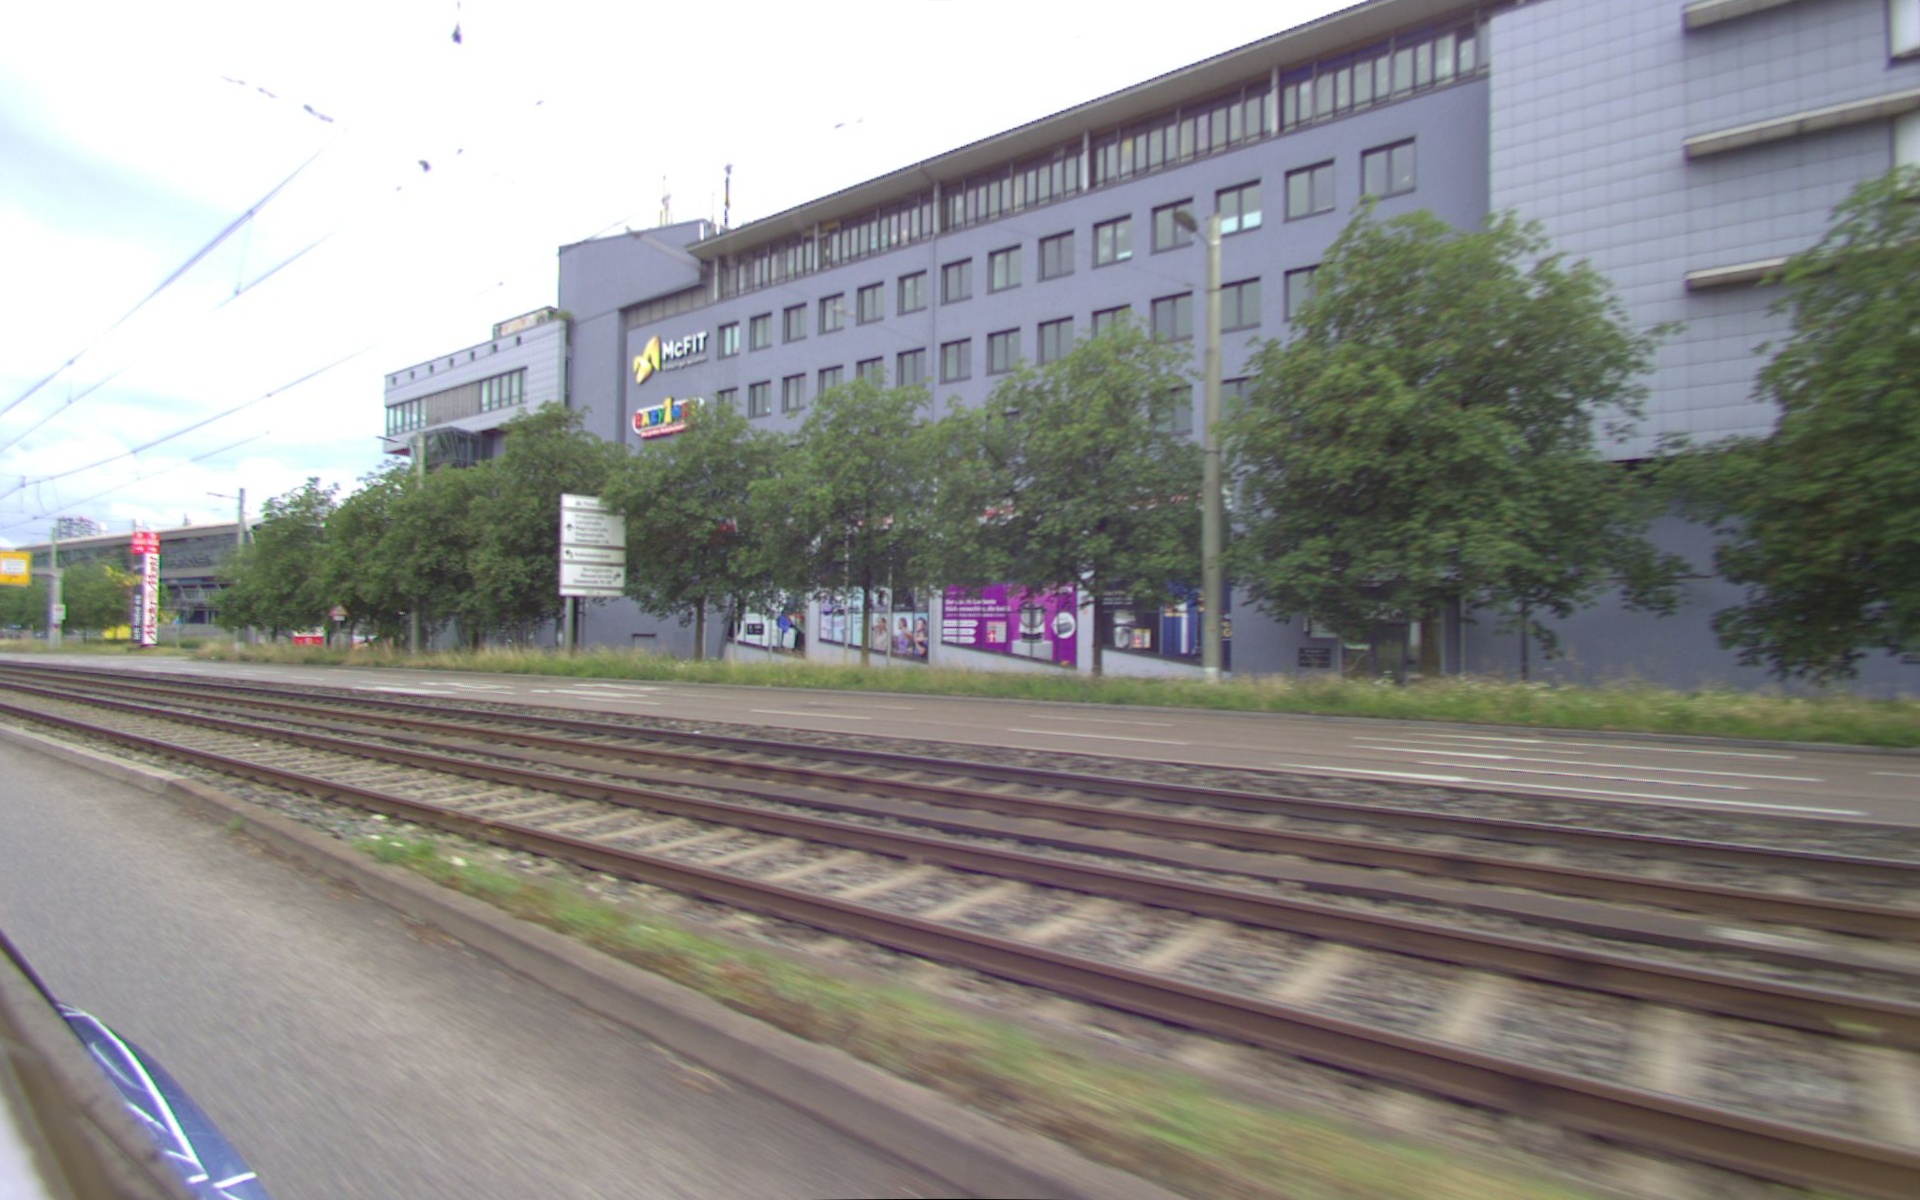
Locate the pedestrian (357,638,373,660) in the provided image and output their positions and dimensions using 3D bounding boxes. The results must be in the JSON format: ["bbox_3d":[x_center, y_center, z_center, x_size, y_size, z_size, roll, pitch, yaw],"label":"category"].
[{"bbox_3d":[-45.254,3.718,76.974,0.578,1.692,0.802,-1,-3,27],"label":"pedestrian"}]
